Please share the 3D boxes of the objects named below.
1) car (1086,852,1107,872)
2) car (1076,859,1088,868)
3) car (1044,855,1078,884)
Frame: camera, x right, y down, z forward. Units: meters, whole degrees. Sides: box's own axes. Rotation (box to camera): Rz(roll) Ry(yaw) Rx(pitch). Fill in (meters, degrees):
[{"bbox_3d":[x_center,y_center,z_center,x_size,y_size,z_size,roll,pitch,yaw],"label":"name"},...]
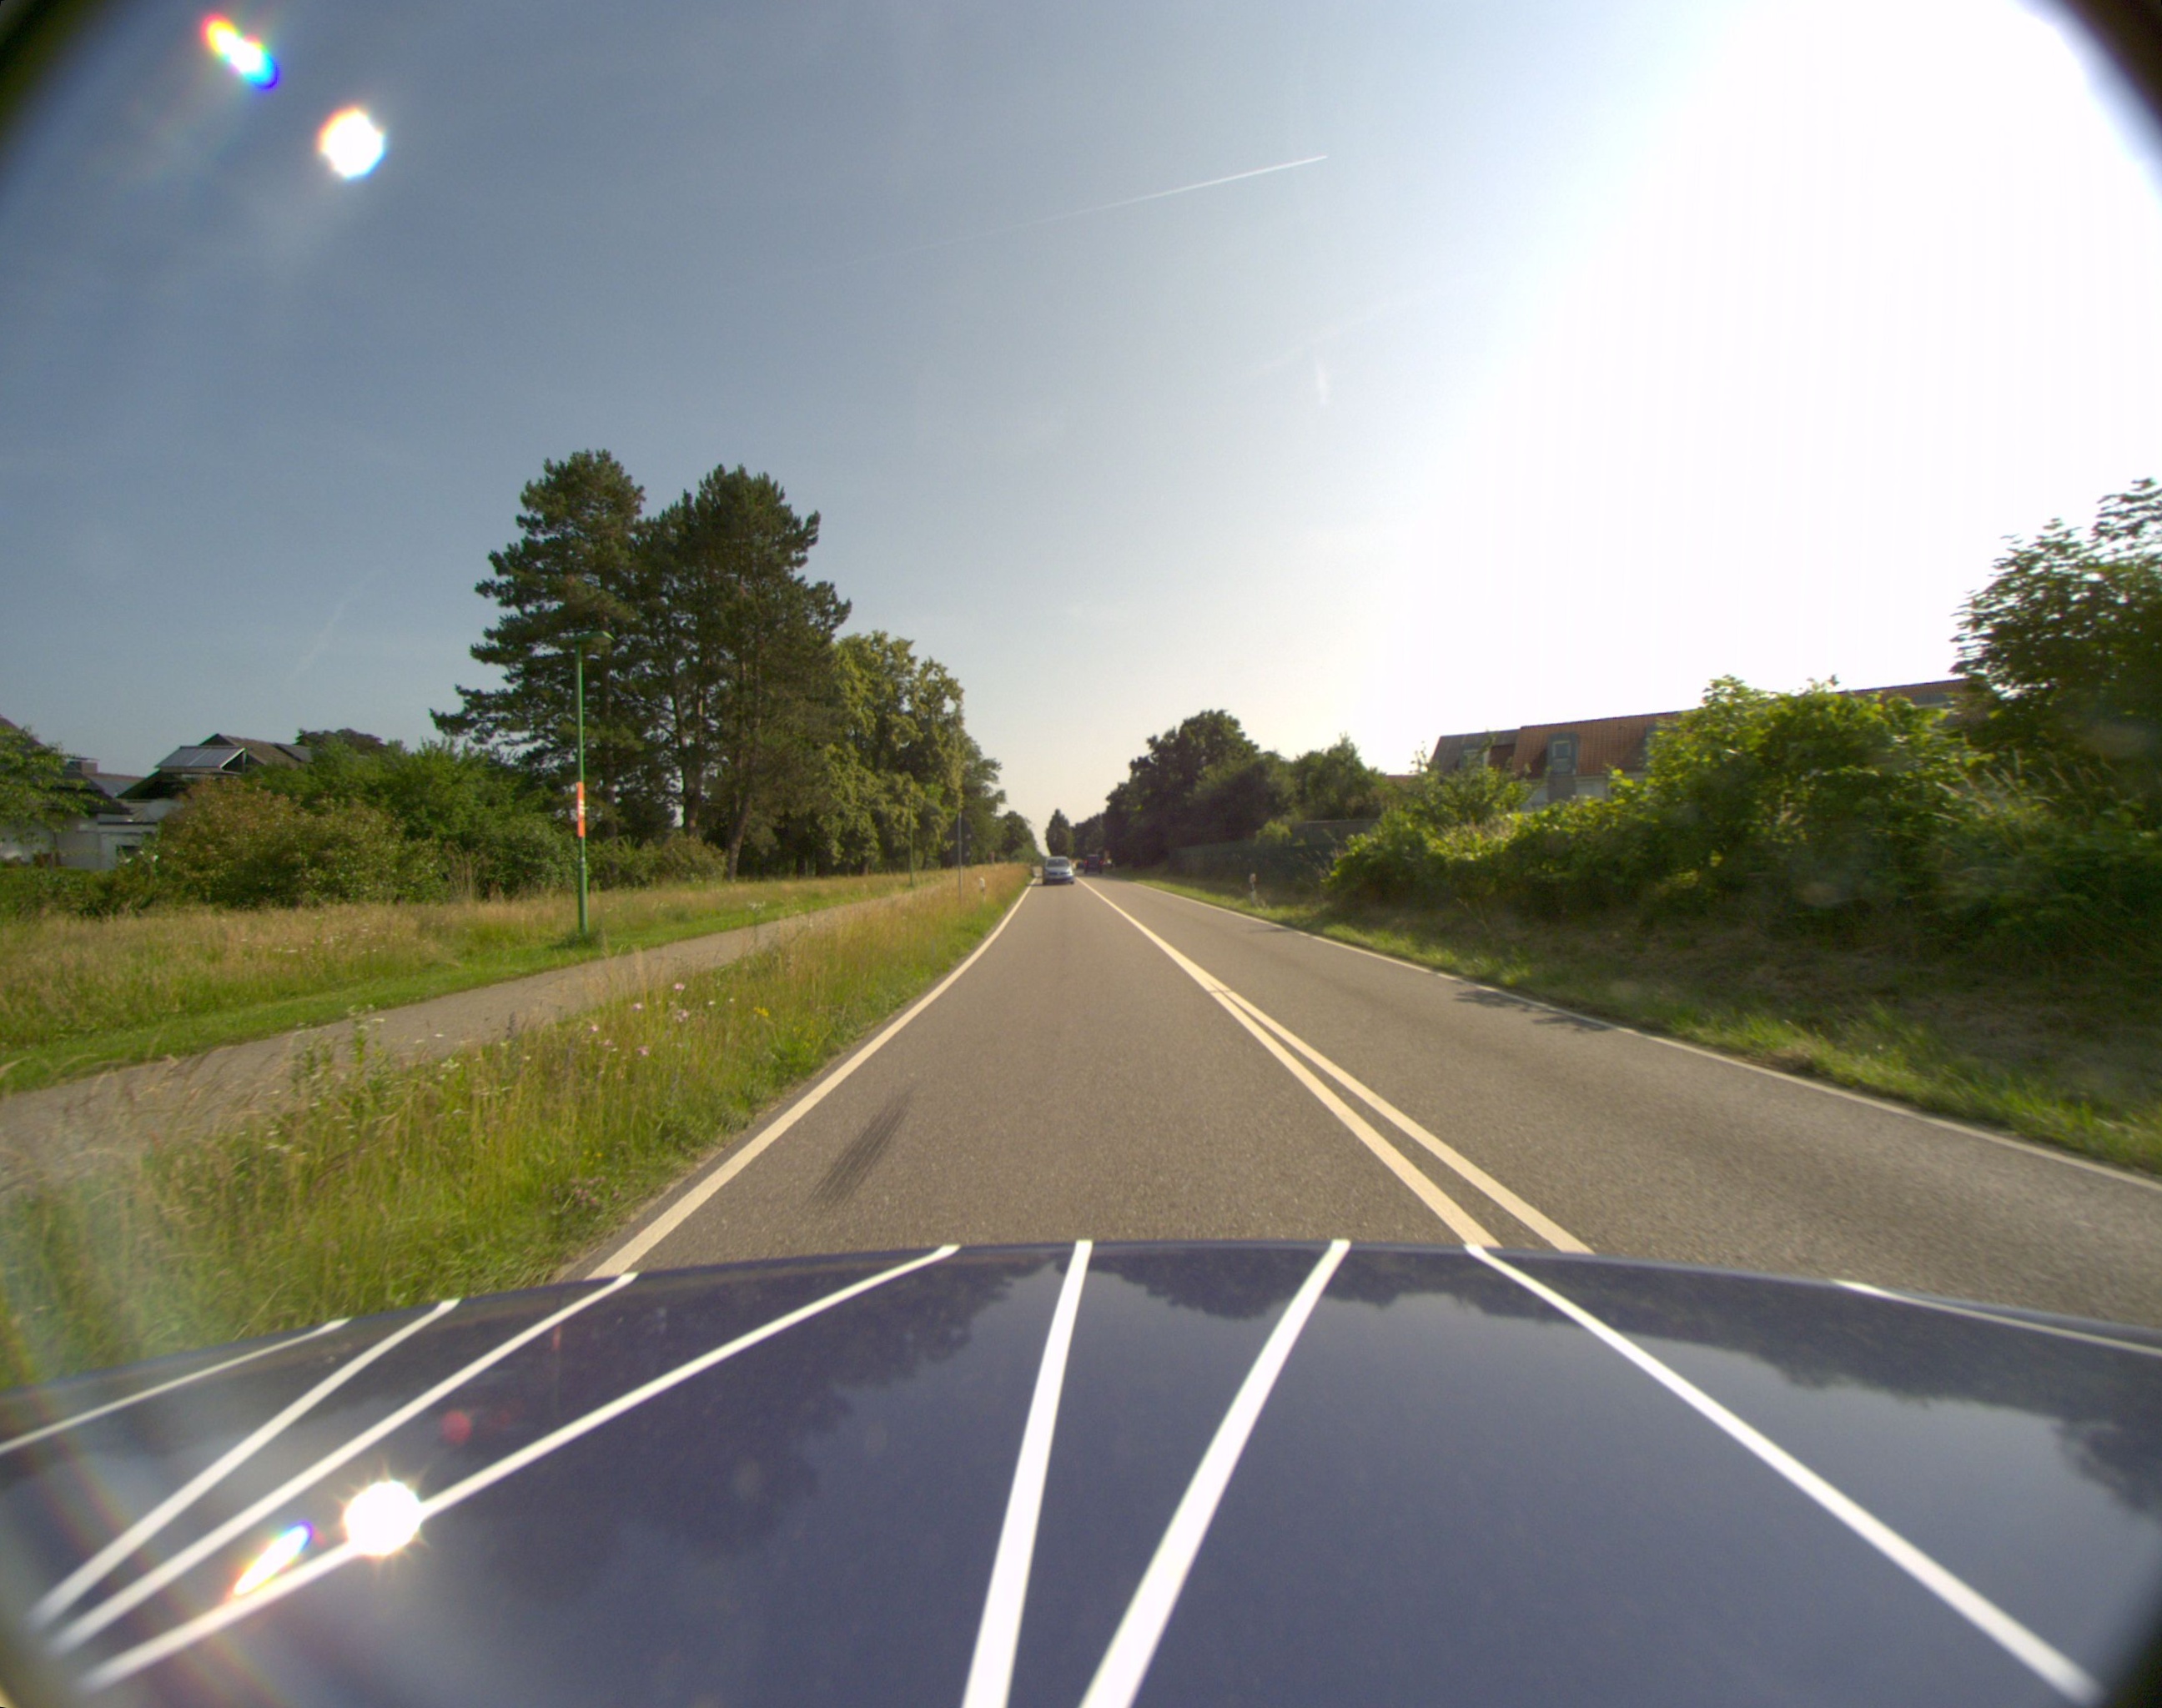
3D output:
[{"bbox_3d":[1.477,0.767,73.667,1.944,1.807,4.242,1,0,0],"label":"car"},{"bbox_3d":[0.141,1.568,129.935,1.875,1.415,4.576,1,0,-3],"label":"car"},{"bbox_3d":[-1.182,0.857,43.603,1.809,1.592,4.268,-1,0,-3],"label":"car"}]
